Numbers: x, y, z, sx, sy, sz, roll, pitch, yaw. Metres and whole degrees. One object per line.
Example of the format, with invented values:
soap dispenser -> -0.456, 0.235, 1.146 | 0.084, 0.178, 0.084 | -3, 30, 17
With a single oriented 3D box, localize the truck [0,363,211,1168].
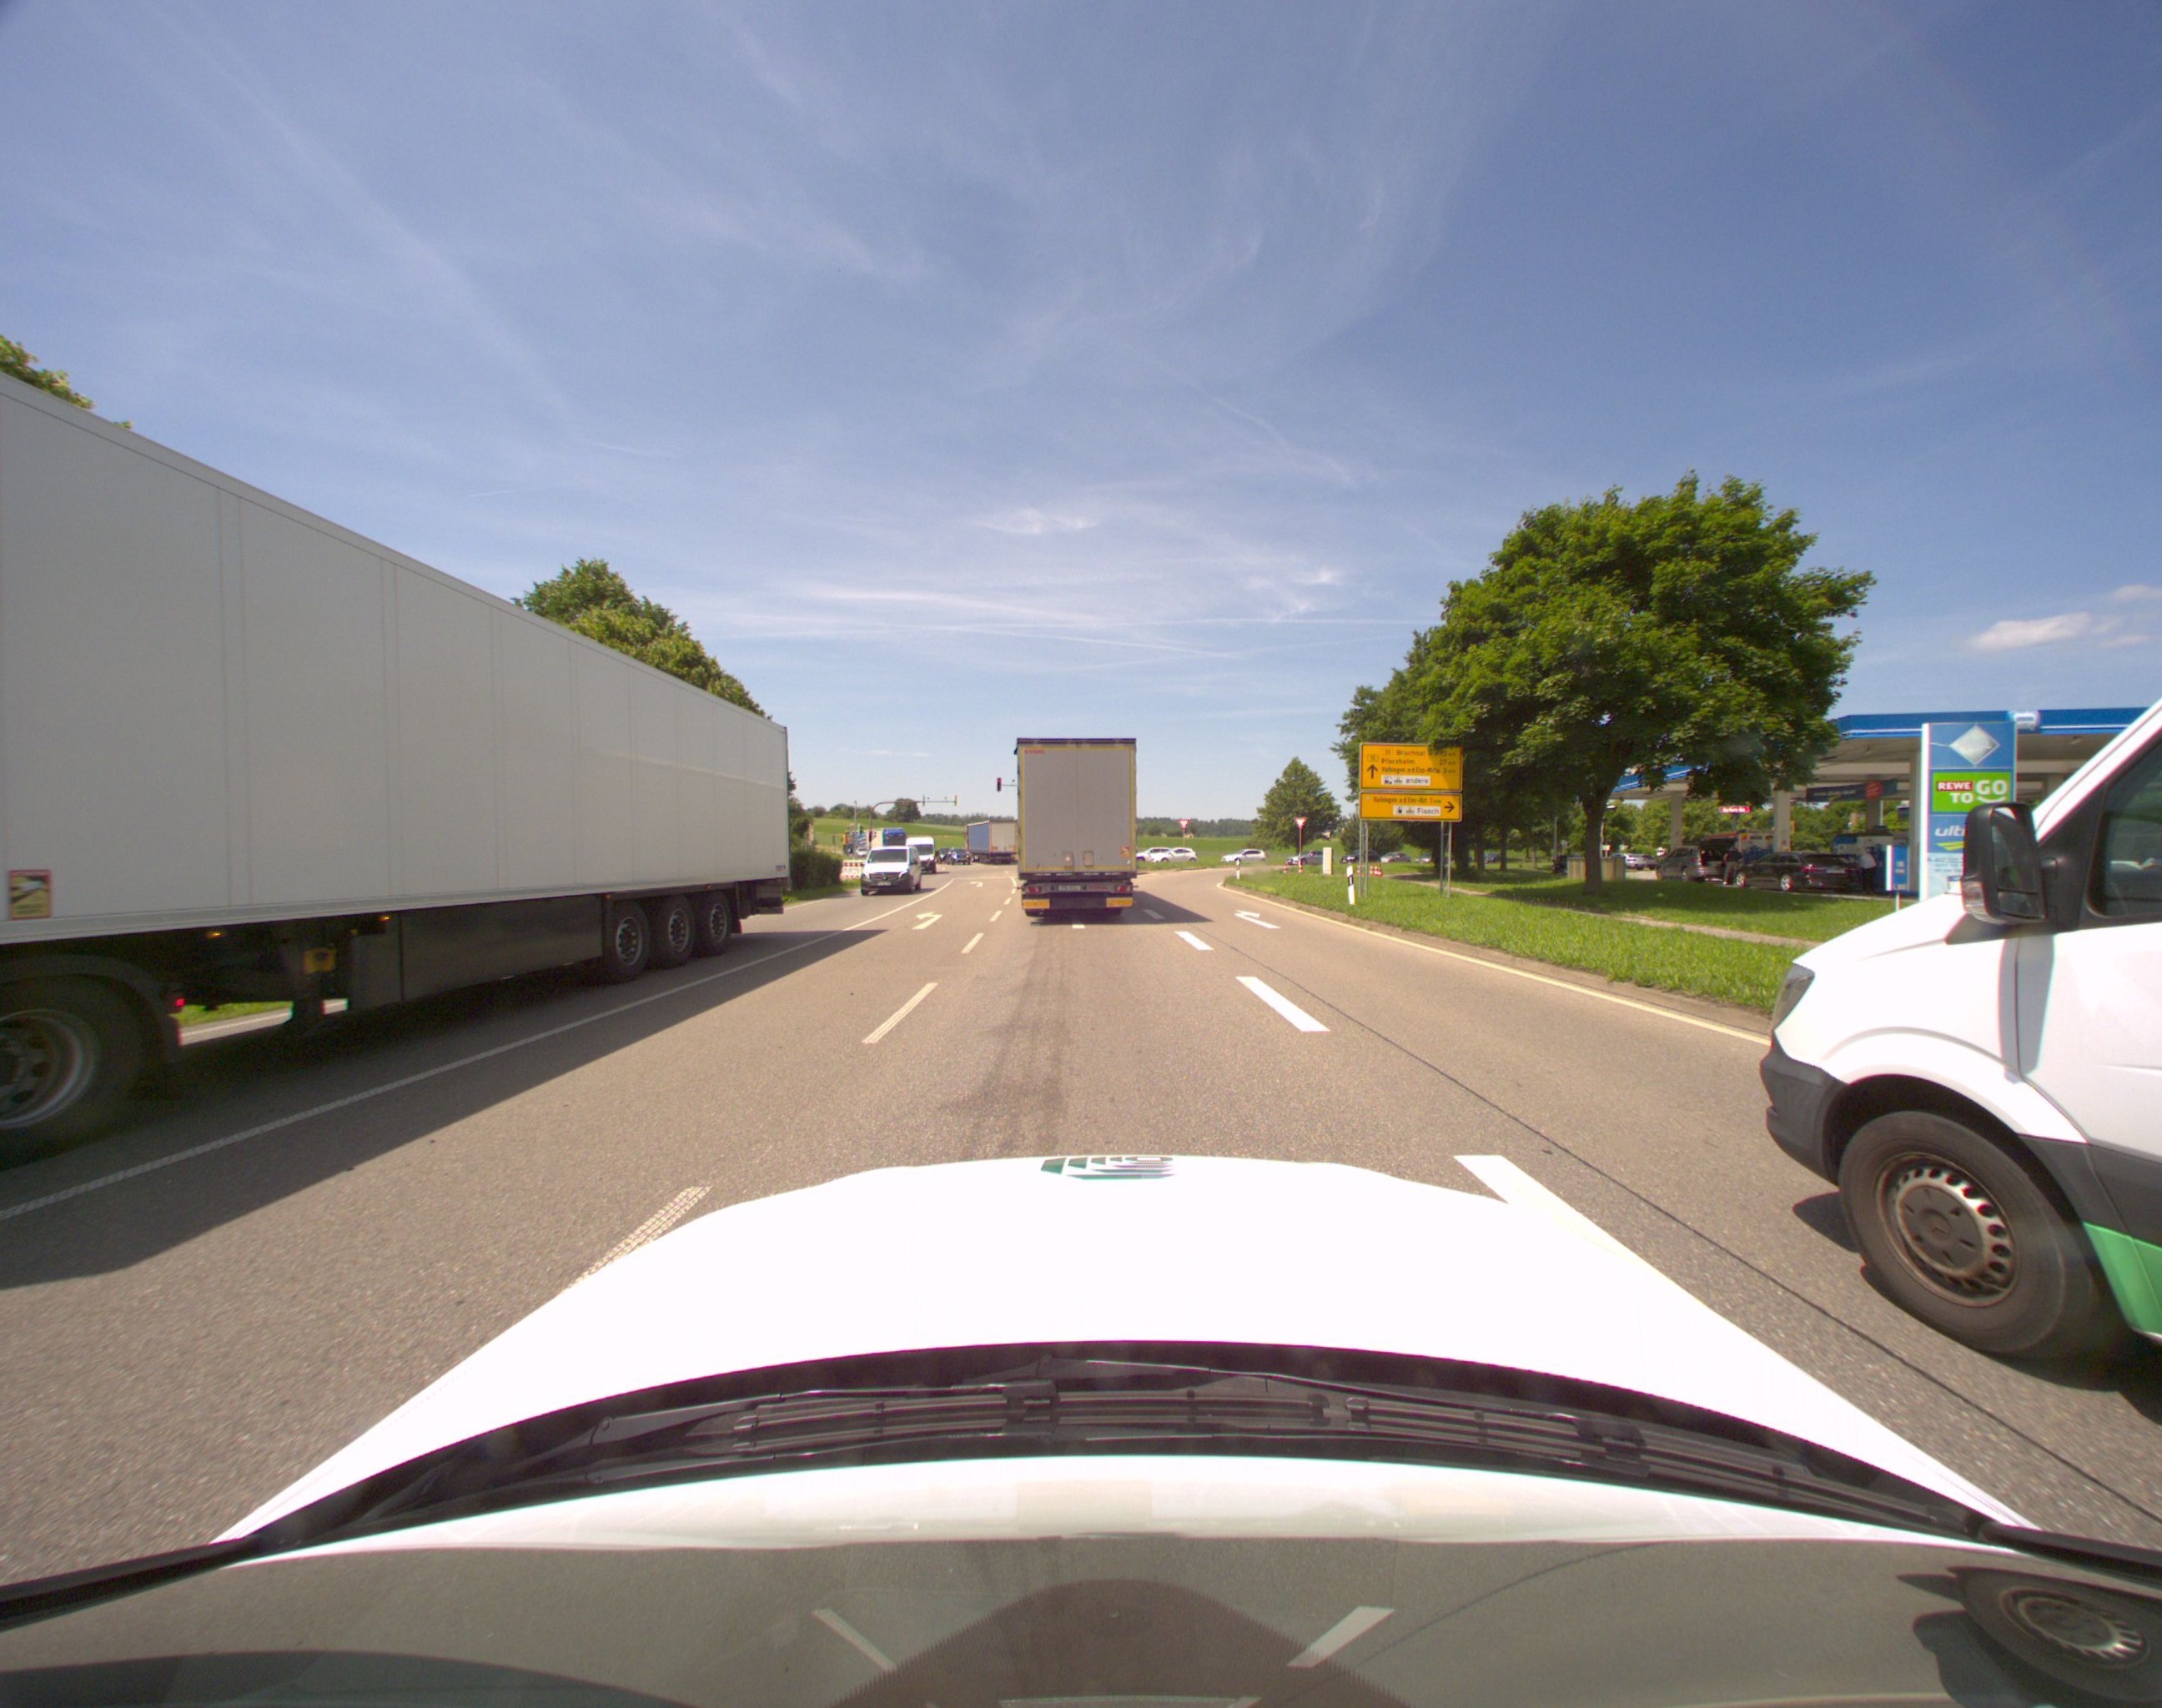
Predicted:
truck -> -6.702, -0.430, 2.081 | 2.768, 3.943, 5.705 | -1, 0, 1

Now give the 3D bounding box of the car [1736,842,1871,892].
car -> 25.755, 0.464, 29.265 | 1.977, 1.621, 4.652 | -1, -1, 19

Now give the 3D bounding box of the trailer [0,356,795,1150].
trailer -> -6.826, -0.490, 9.978 | 2.770, 4.102, 11.652 | -1, 0, -2

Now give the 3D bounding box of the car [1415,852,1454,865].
car -> 36.737, 0.491, 84.621 | 4.583, 1.273, 1.780 | 1, -1, -38

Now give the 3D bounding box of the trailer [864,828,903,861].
trailer -> -25.568, -1.205, 104.949 | 2.578, 4.029, 13.488 | -2, 1, -24

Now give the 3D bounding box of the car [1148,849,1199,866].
car -> 7.891, 0.295, 69.501 | 3.962, 1.419, 1.821 | -1, -1, -12

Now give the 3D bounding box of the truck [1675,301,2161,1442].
truck -> 3.583, 0.031, 0.609 | 2.059, 2.737, 5.945 | 0, 0, 2

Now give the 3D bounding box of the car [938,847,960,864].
car -> -13.553, 0.184, 83.609 | 1.774, 1.658, 3.980 | -1, 0, -15

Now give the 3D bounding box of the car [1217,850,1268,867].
car -> 14.209, 0.434, 71.798 | 4.106, 1.419, 1.788 | -1, -1, -20

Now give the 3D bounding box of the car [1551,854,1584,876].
car -> 32.175, 0.741, 53.819 | 1.737, 1.363, 4.348 | -1, -1, 32

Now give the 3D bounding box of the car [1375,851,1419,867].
car -> 31.323, 0.478, 80.687 | 4.578, 1.510, 1.782 | 0, -1, -32

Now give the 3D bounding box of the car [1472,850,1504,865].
car -> 47.094, 0.466, 94.166 | 4.315, 1.698, 1.976 | 1, -1, -43

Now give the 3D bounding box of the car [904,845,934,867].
car -> -14.945, 0.198, 75.107 | 1.878, 1.886, 4.917 | -2, 0, -21

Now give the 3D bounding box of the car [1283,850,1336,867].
car -> 20.769, 0.438, 74.008 | 4.567, 1.510, 1.787 | 1, -1, -24

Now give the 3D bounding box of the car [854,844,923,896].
car -> -7.576, 0.571, 32.570 | 1.870, 1.865, 5.133 | -1, 0, -5

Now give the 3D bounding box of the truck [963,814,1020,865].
truck -> -9.314, -1.401, 82.391 | 2.967, 4.583, 16.226 | -1, 1, -16

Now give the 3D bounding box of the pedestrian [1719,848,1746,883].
pedestrian -> 27.728, 0.490, 34.672 | 0.660, 1.497, 0.725 | -1, -1, 20

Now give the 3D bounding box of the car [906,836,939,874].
car -> -10.786, 0.048, 55.427 | 2.052, 2.452, 5.248 | -1, 0, -11

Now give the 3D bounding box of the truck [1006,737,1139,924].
truck -> -0.346, -0.498, 22.044 | 2.801, 3.946, 9.582 | 0, 0, -2

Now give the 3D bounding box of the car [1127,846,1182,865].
car -> 6.575, 0.164, 73.481 | 4.624, 1.607, 1.992 | 1, -2, -9

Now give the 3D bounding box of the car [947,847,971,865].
car -> -11.676, 0.194, 77.778 | 1.774, 1.658, 3.979 | -1, 0, -16

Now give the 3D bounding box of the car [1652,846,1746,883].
car -> 28.269, 0.479, 37.468 | 2.016, 1.603, 4.964 | -1, -1, 19

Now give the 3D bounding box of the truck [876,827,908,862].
truck -> -23.071, -1.175, 99.212 | 2.578, 4.029, 6.509 | -2, 1, -24

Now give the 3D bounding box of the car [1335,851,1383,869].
car -> 26.269, 0.592, 76.904 | 4.576, 1.510, 1.783 | 2, -2, -31
